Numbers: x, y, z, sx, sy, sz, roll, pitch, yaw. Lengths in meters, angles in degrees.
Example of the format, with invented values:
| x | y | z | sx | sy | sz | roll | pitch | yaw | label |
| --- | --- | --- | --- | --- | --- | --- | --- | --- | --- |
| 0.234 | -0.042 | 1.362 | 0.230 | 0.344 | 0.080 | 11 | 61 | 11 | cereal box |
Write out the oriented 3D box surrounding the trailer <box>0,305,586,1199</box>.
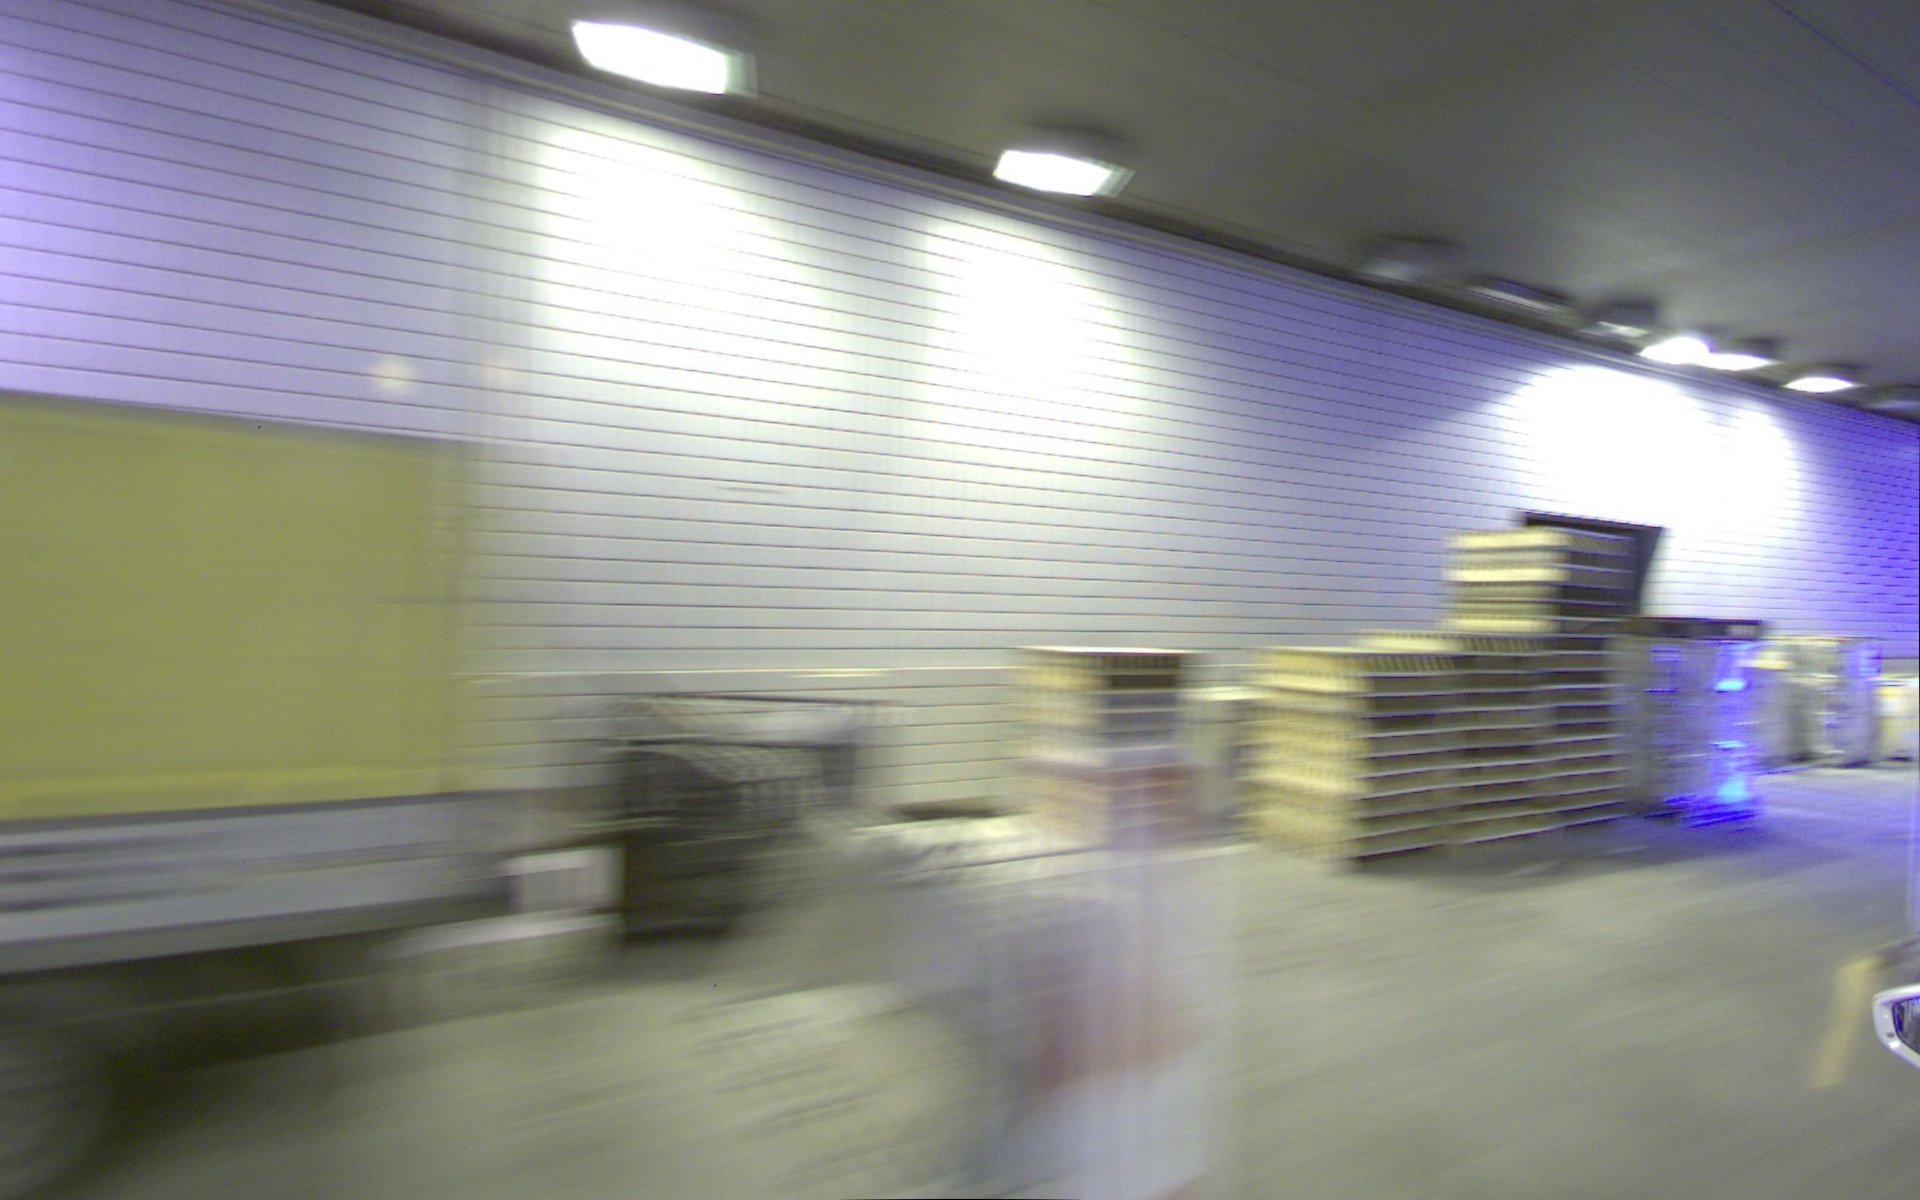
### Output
| x | y | z | sx | sy | sz | roll | pitch | yaw | label |
| --- | --- | --- | --- | --- | --- | --- | --- | --- | --- |
| -3.044 | 0.398 | 2.649 | 3.430 | 2.040 | 2.195 | 2 | -1 | -34 | trailer |
